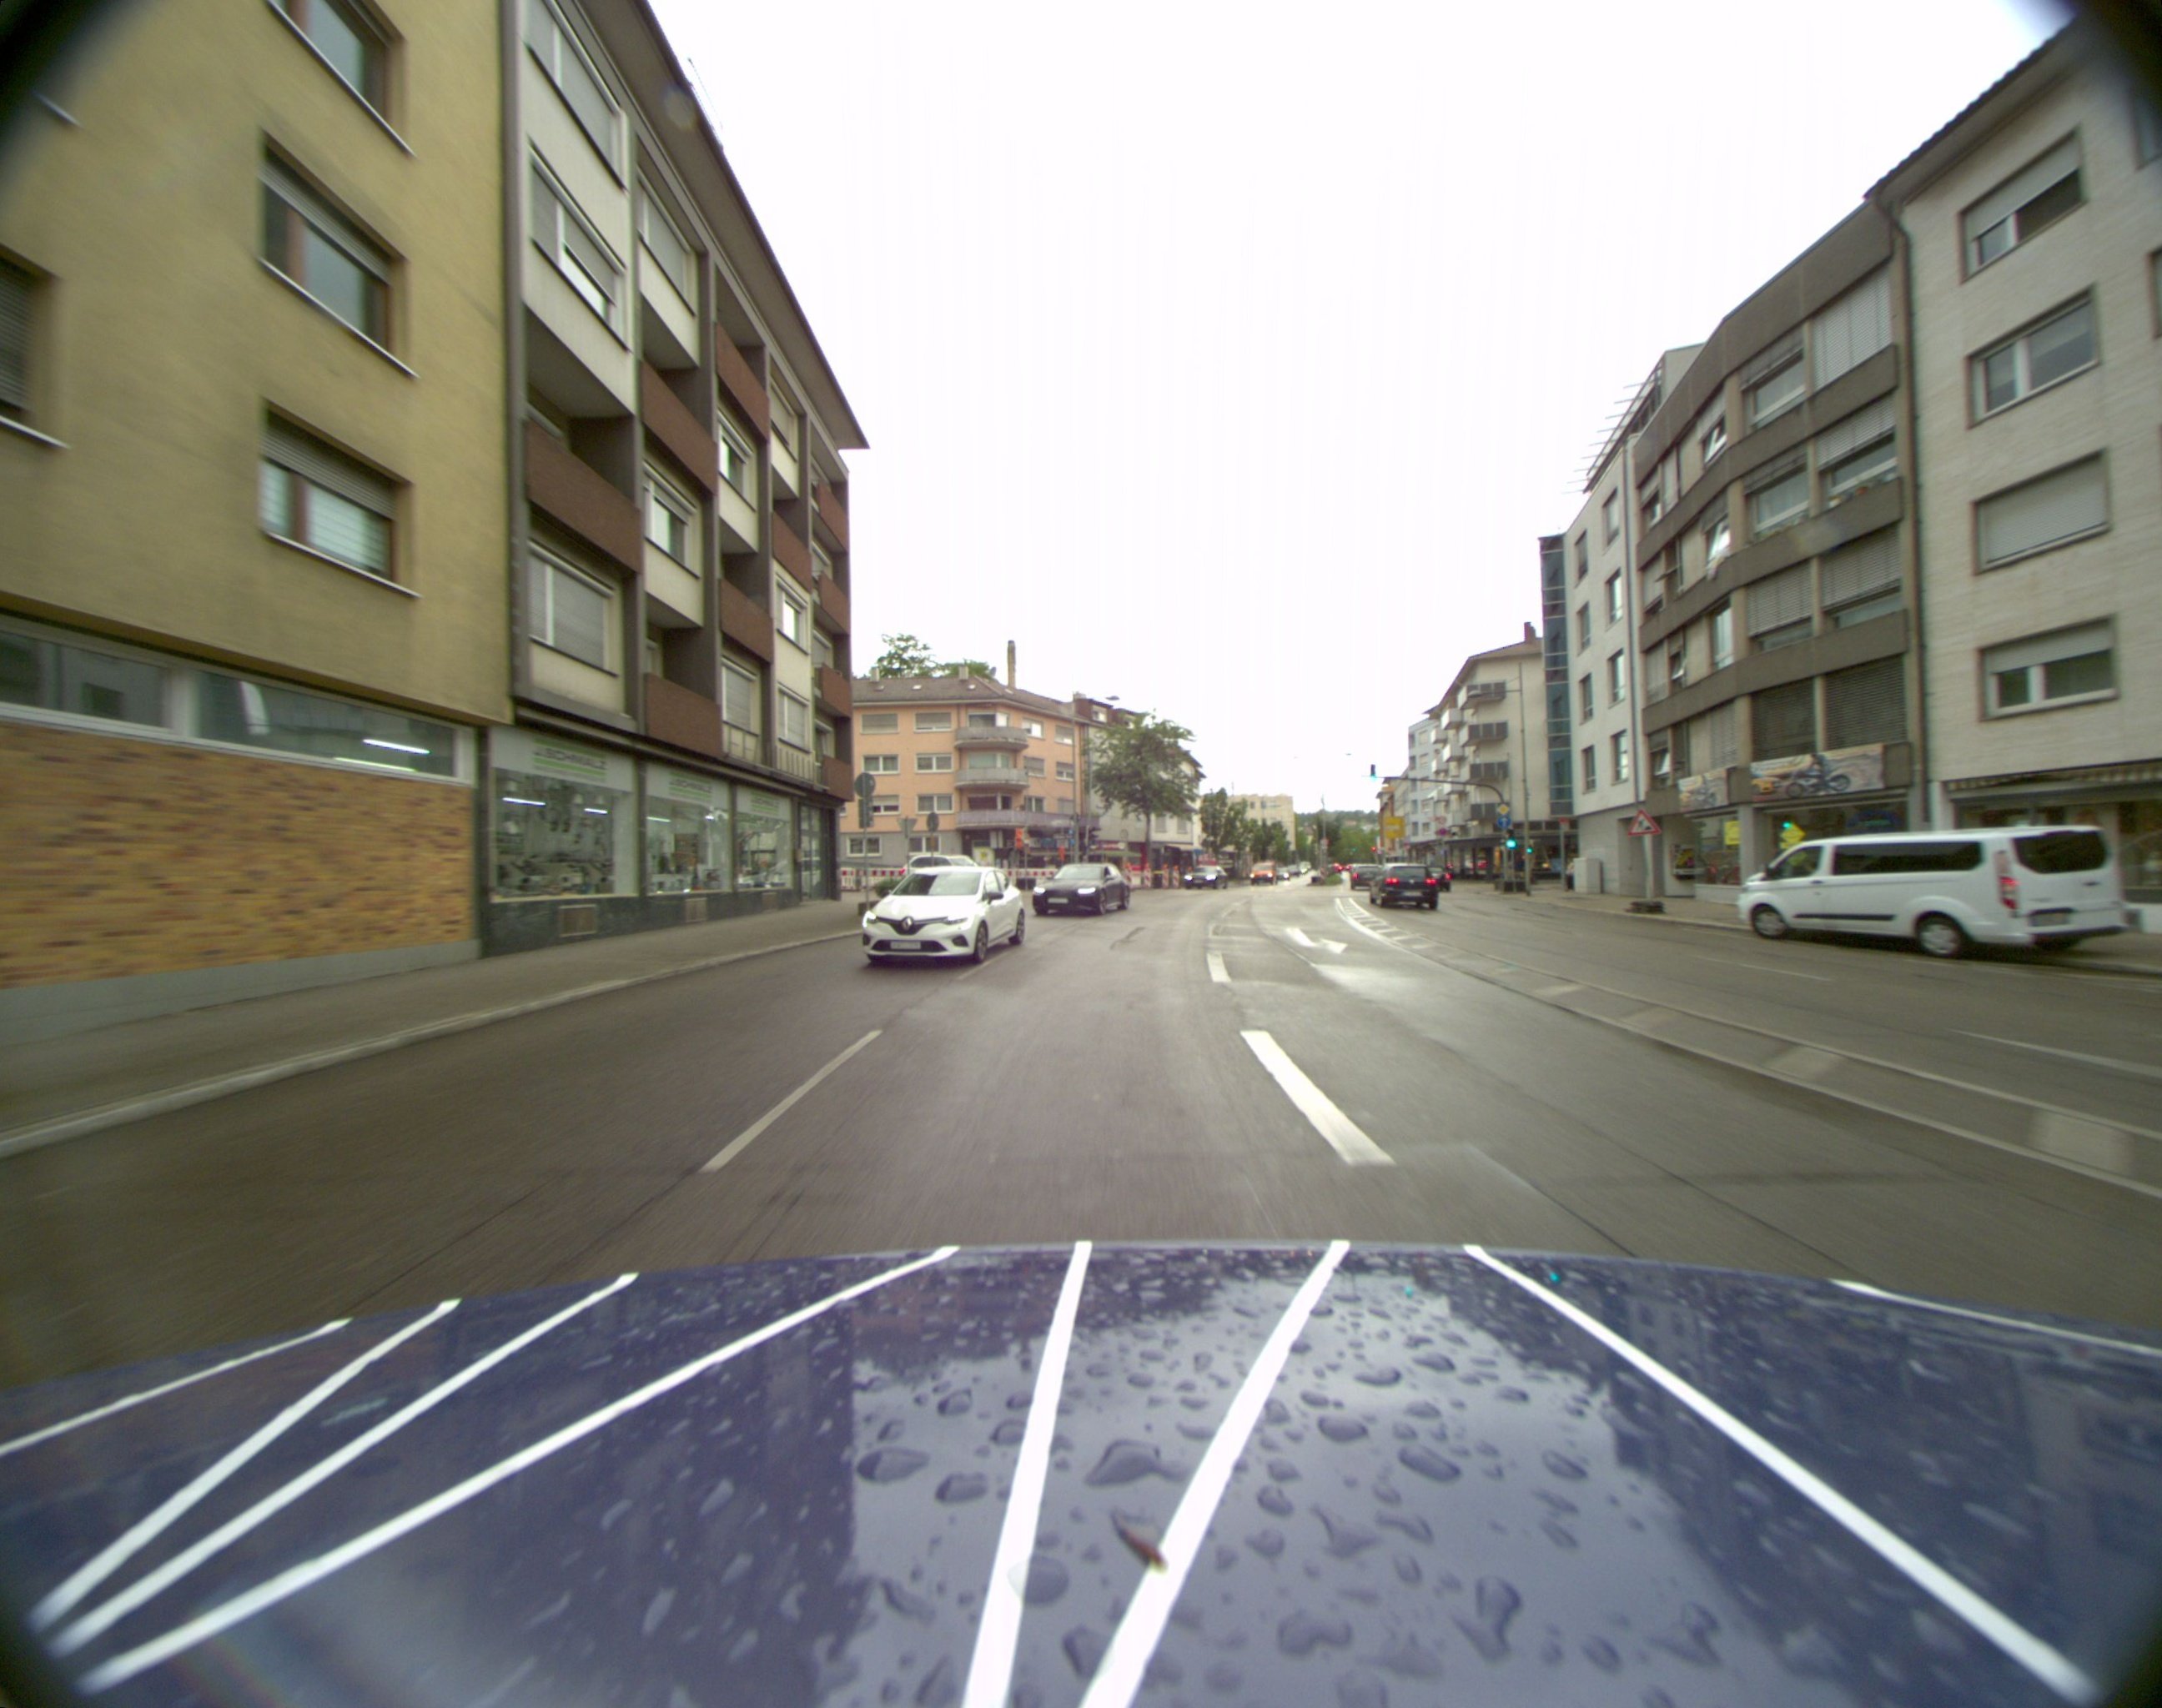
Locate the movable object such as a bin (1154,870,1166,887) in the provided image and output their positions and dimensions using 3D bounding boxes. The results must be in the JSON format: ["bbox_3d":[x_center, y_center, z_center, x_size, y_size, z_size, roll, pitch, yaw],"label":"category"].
[{"bbox_3d":[4.881,1.506,46.845,0.621,1.025,0.532,0,-1,19],"label":"movable object such as a bin"}]

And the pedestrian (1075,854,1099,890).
[{"bbox_3d":[0.291,0.843,35.768,0.822,1.678,0.792,-1,2,-28],"label":"pedestrian"}]

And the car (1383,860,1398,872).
[{"bbox_3d":[39.170,1.547,96.172,1.774,1.514,4.291,-1,-1,22],"label":"car"}]

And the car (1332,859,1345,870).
[{"bbox_3d":[38.802,1.528,114.497,1.849,1.584,4.097,-1,-1,20],"label":"car"}]

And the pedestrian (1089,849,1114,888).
[{"bbox_3d":[0.990,0.703,36.807,0.920,1.850,1.029,-1,2,-22],"label":"pedestrian"}]

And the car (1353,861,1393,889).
[{"bbox_3d":[16.466,1.137,43.034,1.985,1.451,4.492,1,0,20],"label":"car"}]

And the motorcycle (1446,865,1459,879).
[{"bbox_3d":[32.446,1.569,66.421,0.669,1.081,2.199,-3,-1,18],"label":"motorcycle"}]

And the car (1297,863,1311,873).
[{"bbox_3d":[38.841,2.486,132.447,1.996,1.598,4.006,-4,-1,20],"label":"car"}]

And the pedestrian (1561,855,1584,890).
[{"bbox_3d":[22.874,0.856,35.371,0.834,1.598,0.624,0,-1,-33],"label":"pedestrian"}]

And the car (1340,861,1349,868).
[{"bbox_3d":[55.972,2.163,161.609,1.700,1.432,3.846,1,-1,19],"label":"car"}]

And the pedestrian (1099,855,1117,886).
[{"bbox_3d":[1.666,1.039,46.931,0.659,1.868,0.991,-1,-1,-33],"label":"pedestrian"}]

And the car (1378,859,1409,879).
[{"bbox_3d":[25.392,1.196,61.853,1.931,1.465,4.610,1,0,18],"label":"car"}]

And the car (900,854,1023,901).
[{"bbox_3d":[-4.884,0.886,30.741,4.784,1.710,2.004,1,0,33],"label":"car"}]

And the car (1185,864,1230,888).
[{"bbox_3d":[7.652,1.344,45.733,1.809,1.331,4.286,-1,-2,21],"label":"car"}]

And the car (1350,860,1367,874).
[{"bbox_3d":[32.148,1.481,88.149,1.832,1.534,4.290,-1,-1,19],"label":"car"}]

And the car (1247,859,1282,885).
[{"bbox_3d":[16.418,1.537,67.720,2.195,2.073,5.942,-2,0,20],"label":"car"}]

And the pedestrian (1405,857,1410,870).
[{"bbox_3d":[43.767,1.274,101.920,0.512,1.678,0.532,0,2,19],"label":"pedestrian"}]

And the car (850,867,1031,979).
[{"bbox_3d":[-2.063,0.972,12.348,1.679,1.395,4.002,0,1,8],"label":"car"}]

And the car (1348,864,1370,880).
[{"bbox_3d":[26.556,1.692,72.442,1.854,1.465,4.656,0,-1,21],"label":"car"}]

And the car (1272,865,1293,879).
[{"bbox_3d":[22.574,1.992,85.221,1.841,1.433,4.006,-4,-1,20],"label":"car"}]

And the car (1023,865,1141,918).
[{"bbox_3d":[0.205,1.034,23.011,2.037,1.379,5.301,0,0,18],"label":"car"}]

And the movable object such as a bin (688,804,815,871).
[{"bbox_3d":[-20.662,-0.987,47.958,6.532,3.615,2.743,4,-1,-2],"label":"movable object such as a bin"}]

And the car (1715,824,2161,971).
[{"bbox_3d":[14.581,0.614,13.584,2.124,2.003,5.128,-4,0,0],"label":"car"}]

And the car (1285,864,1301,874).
[{"bbox_3d":[30.076,2.104,107.784,1.811,1.334,4.006,-4,-1,19],"label":"car"}]

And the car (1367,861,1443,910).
[{"bbox_3d":[10.763,0.995,25.463,1.686,1.464,4.005,1,0,14],"label":"car"}]

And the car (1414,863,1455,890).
[{"bbox_3d":[19.224,1.217,41.446,1.724,1.391,3.600,-1,-1,20],"label":"car"}]
